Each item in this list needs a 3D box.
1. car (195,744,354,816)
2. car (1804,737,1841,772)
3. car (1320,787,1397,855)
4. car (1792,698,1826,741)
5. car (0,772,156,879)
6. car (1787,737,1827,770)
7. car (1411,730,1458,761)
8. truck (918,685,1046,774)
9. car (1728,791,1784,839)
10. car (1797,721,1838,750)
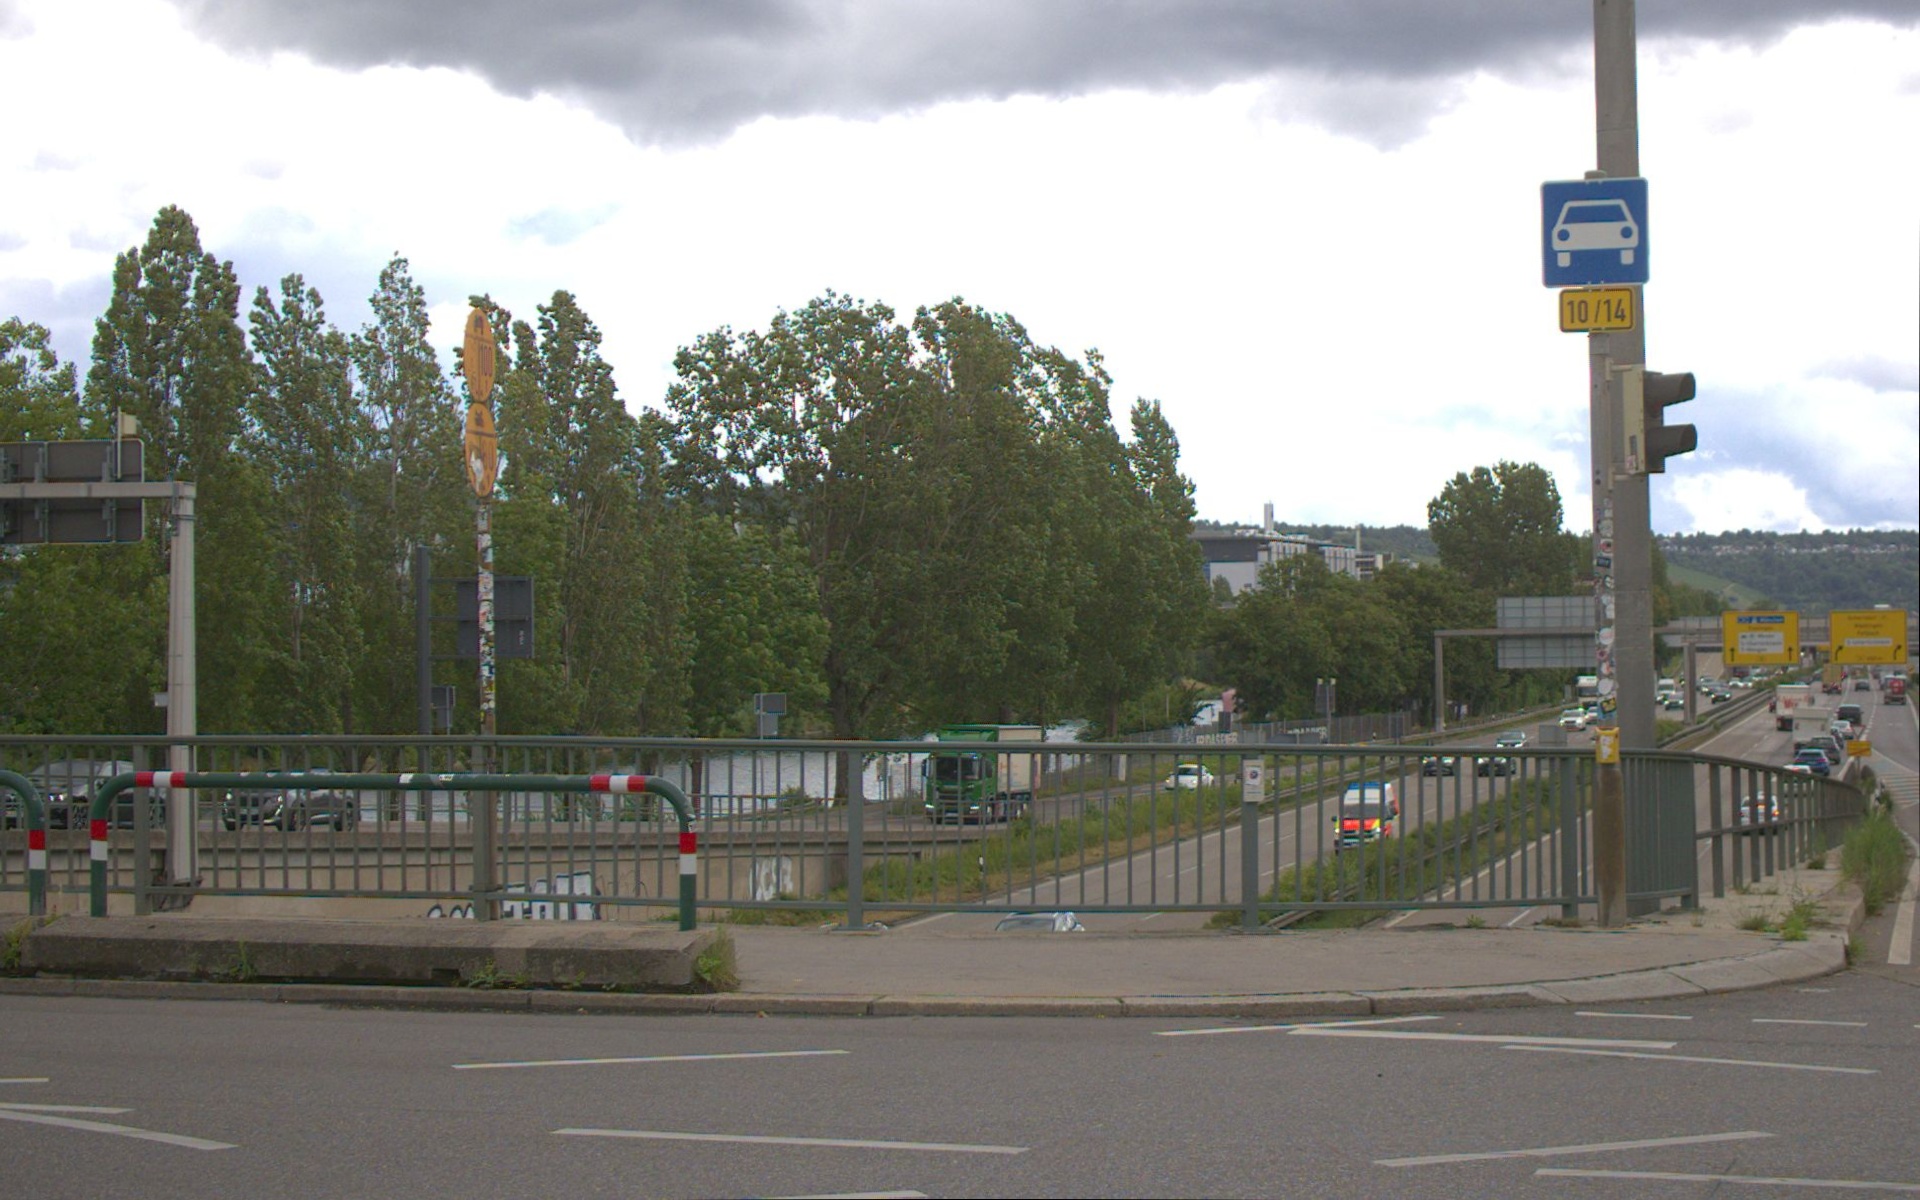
[{"bbox_3d":[-16.068,4.229,80.777,1.995,1.613,3.996,-2,-3,17],"label":"car"},{"bbox_3d":[50.828,9.093,202.649,1.995,2.007,3.997,-2,-3,13],"label":"car"},{"bbox_3d":[14.514,8.021,125.060,1.995,2.363,4.585,-2,-3,16],"label":"car"},{"bbox_3d":[53.910,7.631,218.371,1.995,2.614,5.395,-2,-3,13],"label":"car"},{"bbox_3d":[-17.359,4.286,65.948,1.995,1.612,3.997,0,2,17],"label":"car"},{"bbox_3d":[45.465,8.235,184.561,1.995,1.731,3.994,-2,-3,13],"label":"car"},{"bbox_3d":[26.795,8.233,194.038,1.995,1.701,4.076,-2,-3,16],"label":"car"},{"bbox_3d":[0.986,5.330,143.258,2.775,3.498,9.250,0,-1,17],"label":"truck"},{"bbox_3d":[30.526,8.222,131.770,1.995,1.731,3.994,-2,-3,13],"label":"car"},{"bbox_3d":[57.523,9.105,230.727,2.532,1.895,4.878,-2,-3,13],"label":"car"}]
